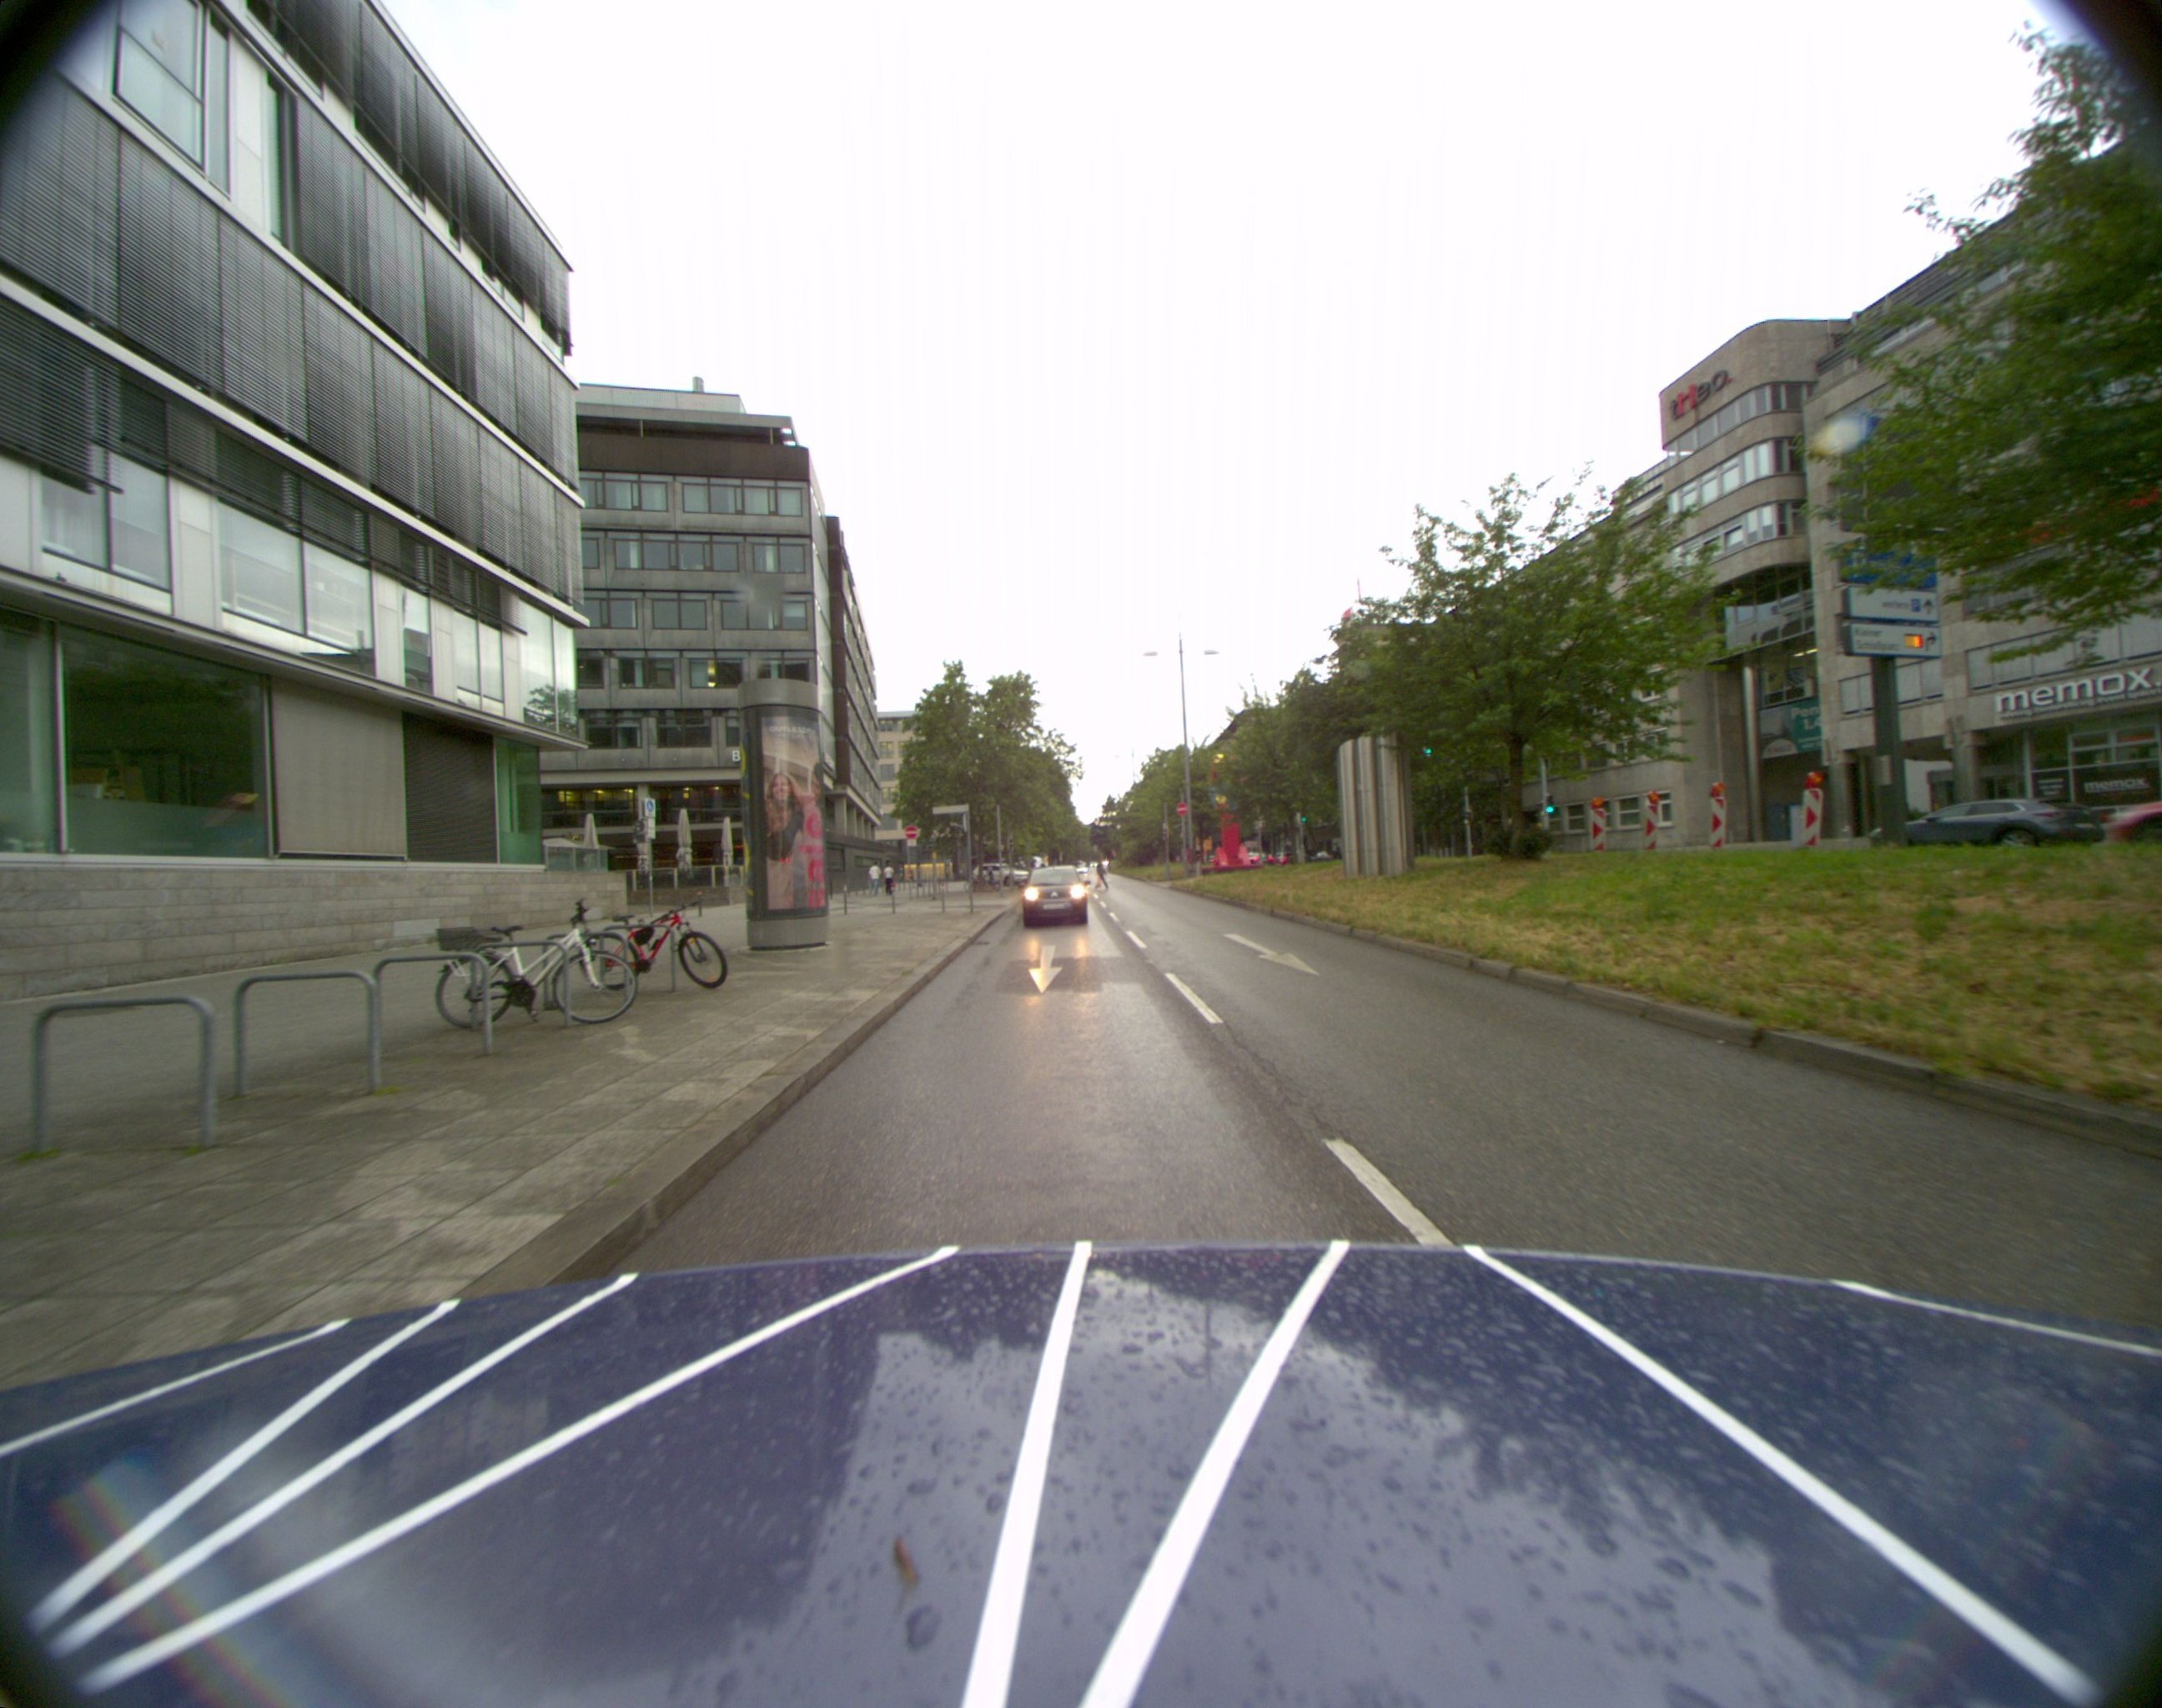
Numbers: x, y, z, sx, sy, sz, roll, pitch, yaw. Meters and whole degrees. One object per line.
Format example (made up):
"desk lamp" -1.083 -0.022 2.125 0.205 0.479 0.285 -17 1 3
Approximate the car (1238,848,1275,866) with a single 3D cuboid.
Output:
"car" 14.687 0.293 63.813 1.867 1.421 4.565 -2 -1 -3

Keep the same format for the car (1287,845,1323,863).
"car" 21.004 0.030 71.359 1.867 1.612 4.467 -2 -1 -3

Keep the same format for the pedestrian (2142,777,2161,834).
"pedestrian" 34.910 -1.578 24.463 0.721 1.777 0.529 -3 0 -9

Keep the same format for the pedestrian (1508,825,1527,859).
"pedestrian" 23.309 -0.643 40.602 0.529 1.777 0.721 -4 0 1

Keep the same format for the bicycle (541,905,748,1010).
"bicycle" -5.154 1.211 9.046 1.988 1.097 0.808 -2 0 4

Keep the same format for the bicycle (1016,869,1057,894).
"bicycle" -2.357 1.452 40.352 1.976 1.132 0.777 -6 0 1

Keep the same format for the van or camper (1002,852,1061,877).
"van or camper" -5.603 1.224 85.600 6.251 2.432 2.319 -4 0 30

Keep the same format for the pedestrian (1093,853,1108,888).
"pedestrian" 0.967 0.804 37.544 0.528 1.675 0.722 -4 0 10

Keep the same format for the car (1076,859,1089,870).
"car" 0.212 1.767 127.446 1.791 1.736 4.575 -2 -1 -3

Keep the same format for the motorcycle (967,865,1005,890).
"motorcycle" -5.642 1.371 45.292 2.087 1.349 0.677 -4 0 7

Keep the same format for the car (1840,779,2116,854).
"car" 24.590 -0.932 21.188 1.867 1.715 4.791 -4 0 -3

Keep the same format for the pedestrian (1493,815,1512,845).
"pedestrian" 23.019 -1.309 41.513 0.607 1.619 0.620 -4 0 1

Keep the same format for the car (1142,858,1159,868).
"car" 10.738 1.387 117.292 1.795 1.458 4.724 -1 -1 -6

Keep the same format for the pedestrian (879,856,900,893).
"pedestrian" -10.799 1.138 42.909 0.852 2.027 0.753 -4 0 2

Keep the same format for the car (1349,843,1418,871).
"car" 16.546 0.177 41.774 1.867 1.421 4.131 -2 -1 -5

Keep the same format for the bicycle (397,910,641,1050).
"bicycle" -5.275 1.165 7.191 1.840 1.190 0.660 -2 0 4

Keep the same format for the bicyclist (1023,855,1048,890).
"bicyclist" -2.403 0.978 40.351 1.079 1.739 0.812 -6 2 1

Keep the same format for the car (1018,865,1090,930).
"car" -0.672 1.066 19.959 1.634 1.408 3.834 -3 0 -1

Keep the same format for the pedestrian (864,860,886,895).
"pedestrian" -11.582 1.310 42.654 0.802 1.857 0.899 -4 0 7

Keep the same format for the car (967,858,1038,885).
"car" -5.698 1.241 54.839 4.792 1.640 1.920 -4 0 30

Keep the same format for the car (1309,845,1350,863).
"car" 21.608 0.047 66.172 1.867 1.421 4.565 -2 -1 -3

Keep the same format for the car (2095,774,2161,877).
"car" 18.822 -0.527 11.312 1.951 1.690 3.997 -3 0 -8

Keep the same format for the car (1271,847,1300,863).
"car" 20.489 0.101 76.347 1.690 1.493 3.692 -2 -1 -3
